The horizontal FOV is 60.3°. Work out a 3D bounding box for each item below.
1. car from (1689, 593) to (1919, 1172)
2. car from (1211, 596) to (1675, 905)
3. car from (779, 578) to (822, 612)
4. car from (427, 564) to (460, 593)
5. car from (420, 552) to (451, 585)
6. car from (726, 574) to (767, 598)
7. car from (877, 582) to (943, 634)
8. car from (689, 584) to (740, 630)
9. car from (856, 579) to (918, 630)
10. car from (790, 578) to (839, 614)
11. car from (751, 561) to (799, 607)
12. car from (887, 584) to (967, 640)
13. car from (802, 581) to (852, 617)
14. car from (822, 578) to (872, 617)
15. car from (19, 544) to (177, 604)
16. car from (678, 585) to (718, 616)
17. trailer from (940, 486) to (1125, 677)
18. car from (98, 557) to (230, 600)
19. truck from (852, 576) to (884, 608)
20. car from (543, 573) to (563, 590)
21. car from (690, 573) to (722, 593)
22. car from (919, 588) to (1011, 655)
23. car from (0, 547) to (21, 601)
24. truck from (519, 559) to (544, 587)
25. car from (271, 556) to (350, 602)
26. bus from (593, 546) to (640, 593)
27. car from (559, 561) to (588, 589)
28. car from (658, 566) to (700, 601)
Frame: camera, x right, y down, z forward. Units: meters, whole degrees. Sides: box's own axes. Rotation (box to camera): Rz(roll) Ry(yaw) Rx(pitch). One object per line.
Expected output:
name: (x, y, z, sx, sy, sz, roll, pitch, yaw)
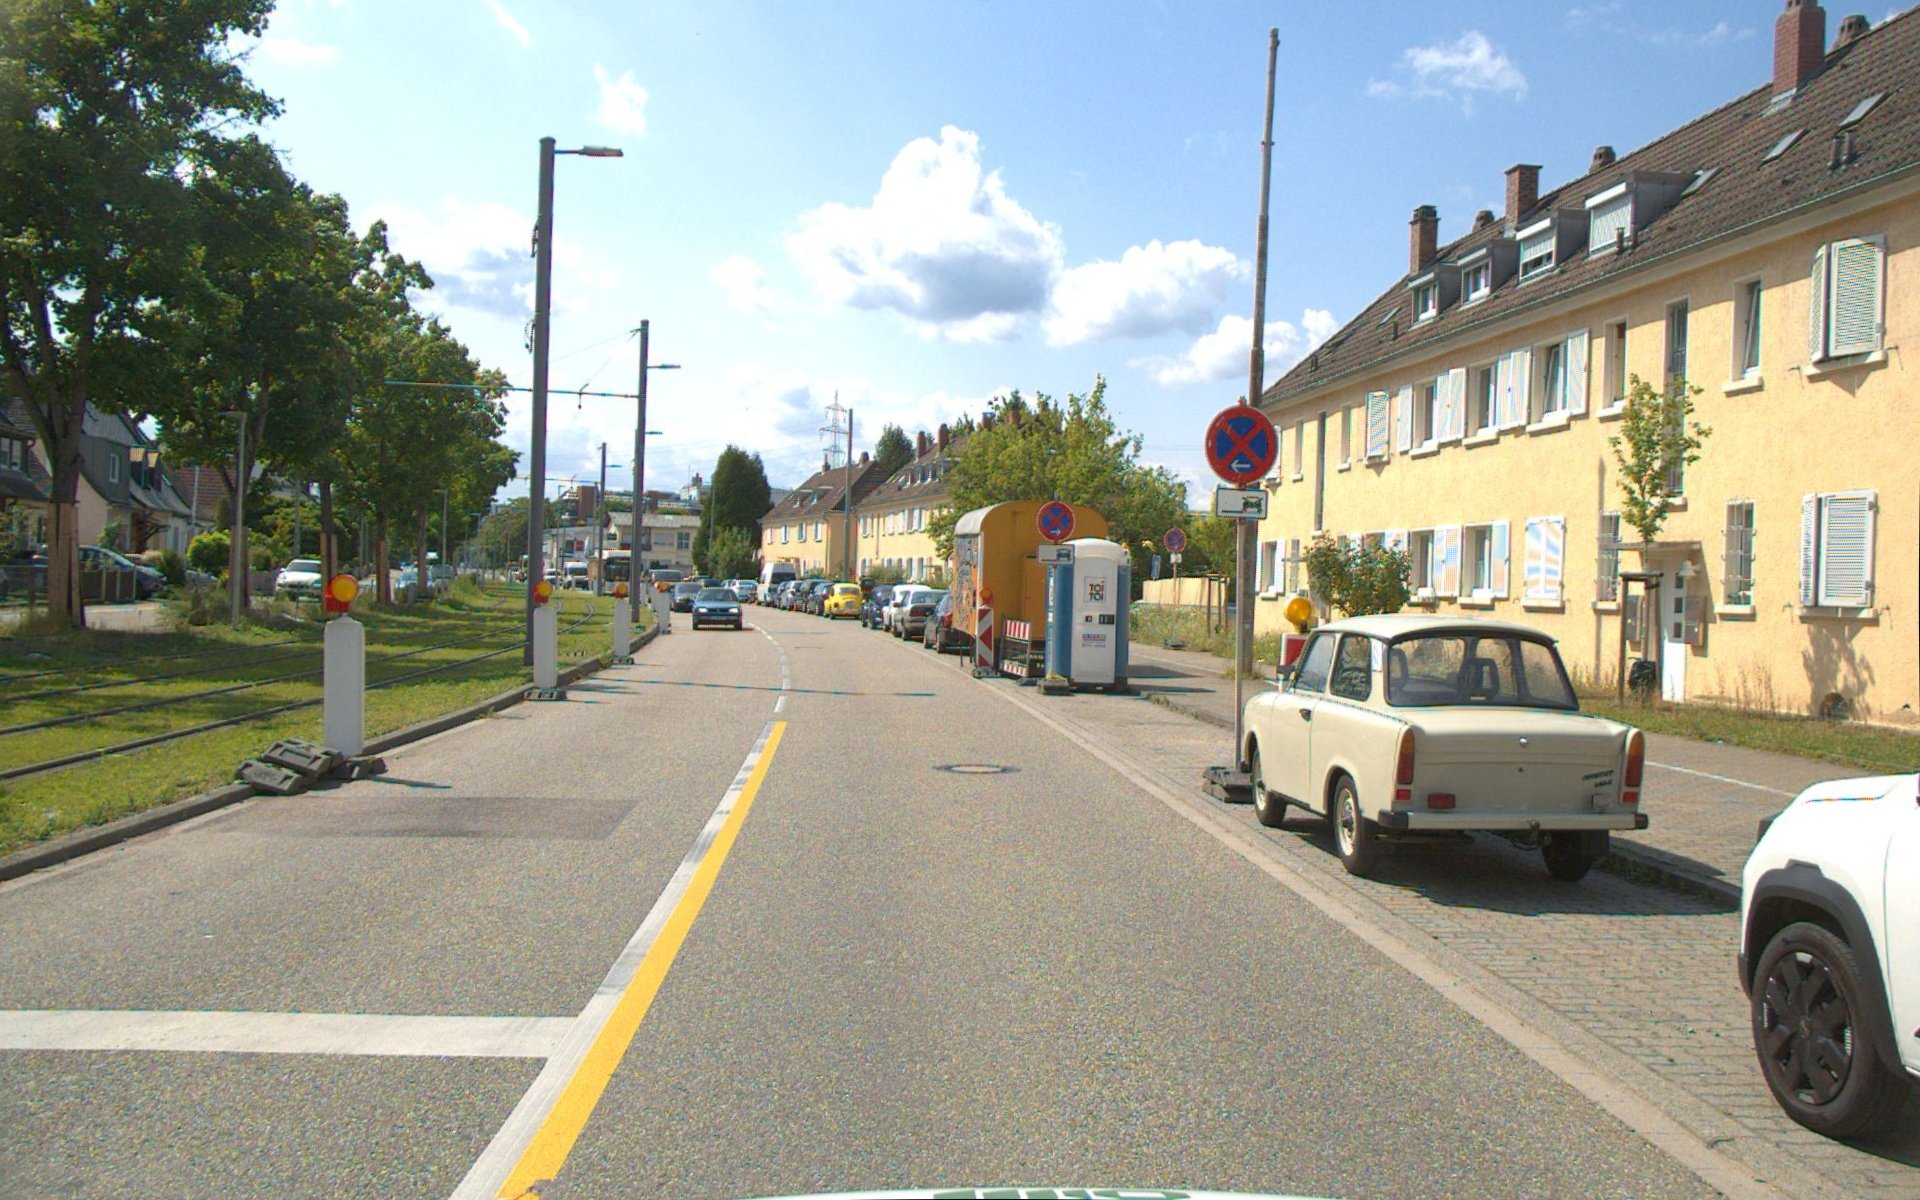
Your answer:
car: (3.279, 0.752, 3.710, 1.497, 1.507, 3.808, 1, 0, -2)
car: (2.755, 0.762, 10.383, 1.434, 1.528, 4.106, 1, 0, -4)
car: (-8.168, -0.267, 84.380, 1.608, 1.630, 4.015, 2, 0, -14)
car: (-29.879, -1.242, 95.650, 1.782, 1.614, 4.546, 0, 1, -17)
car: (-45.291, -2.725, 142.690, 2.045, 2.768, 6.955, 0, 1, -22)
car: (-13.774, -0.893, 106.584, 1.771, 1.483, 4.739, 0, 0, -19)
car: (-1.643, 0.218, 52.833, 1.548, 1.539, 4.451, 2, 0, -8)
car: (-8.350, 0.209, 56.361, 1.634, 1.474, 3.952, -1, 1, -8)
car: (-2.596, 0.126, 57.874, 1.521, 1.669, 4.235, 2, 0, -11)
car: (-7.111, -0.189, 80.563, 1.609, 1.630, 3.915, 2, 0, -16)
car: (-10.582, -0.920, 94.261, 1.897, 2.524, 5.496, 1, 1, -15)
car: (-1.008, 0.316, 47.783, 1.675, 1.474, 4.826, 2, 0, -8)
car: (-6.066, -0.070, 75.151, 1.608, 1.508, 4.110, 2, 0, -14)
car: (-4.818, -0.136, 70.041, 1.607, 1.508, 3.920, -1, 2, -12)
car: (-29.745, -0.888, 57.218, 4.394, 1.868, 2.058, 2, 0, -14)
car: (-12.623, 0.003, 79.418, 1.694, 1.413, 4.110, 2, 0, -12)
trailer: (1.257, -0.349, 31.653, 2.639, 3.283, 5.074, 2, 0, -7)
car: (-31.806, -0.848, 66.229, 4.394, 1.550, 1.919, 2, 0, -14)
truck: (-5.217, -0.460, 93.191, 1.323, 1.718, 2.432, 2, 0, -14)
car: (-44.225, -2.000, 179.710, 1.708, 1.804, 4.284, 2, 0, -20)
car: (-18.478, -1.245, 120.183, 1.737, 1.442, 3.980, 0, 1, -18)
car: (0.052, 0.475, 39.983, 1.548, 1.474, 4.445, 2, 0, -8)
car: (-28.142, -0.755, 46.633, 1.698, 1.544, 4.032, 2, 0, -12)
truck: (-54.211, -3.389, 209.267, 2.521, 3.519, 7.111, 0, 1, -19)
car: (-26.958, -0.866, 68.827, 1.846, 1.799, 5.074, 2, 0, -8)
bus: (-26.742, -2.348, 128.371, 2.594, 3.472, 12.192, 0, 1, -17)
car: (-35.546, -2.320, 151.944, 2.070, 2.486, 5.542, 2, 0, -19)
car: (-16.443, -0.976, 96.643, 1.923, 2.000, 5.272, 1, 1, -15)
